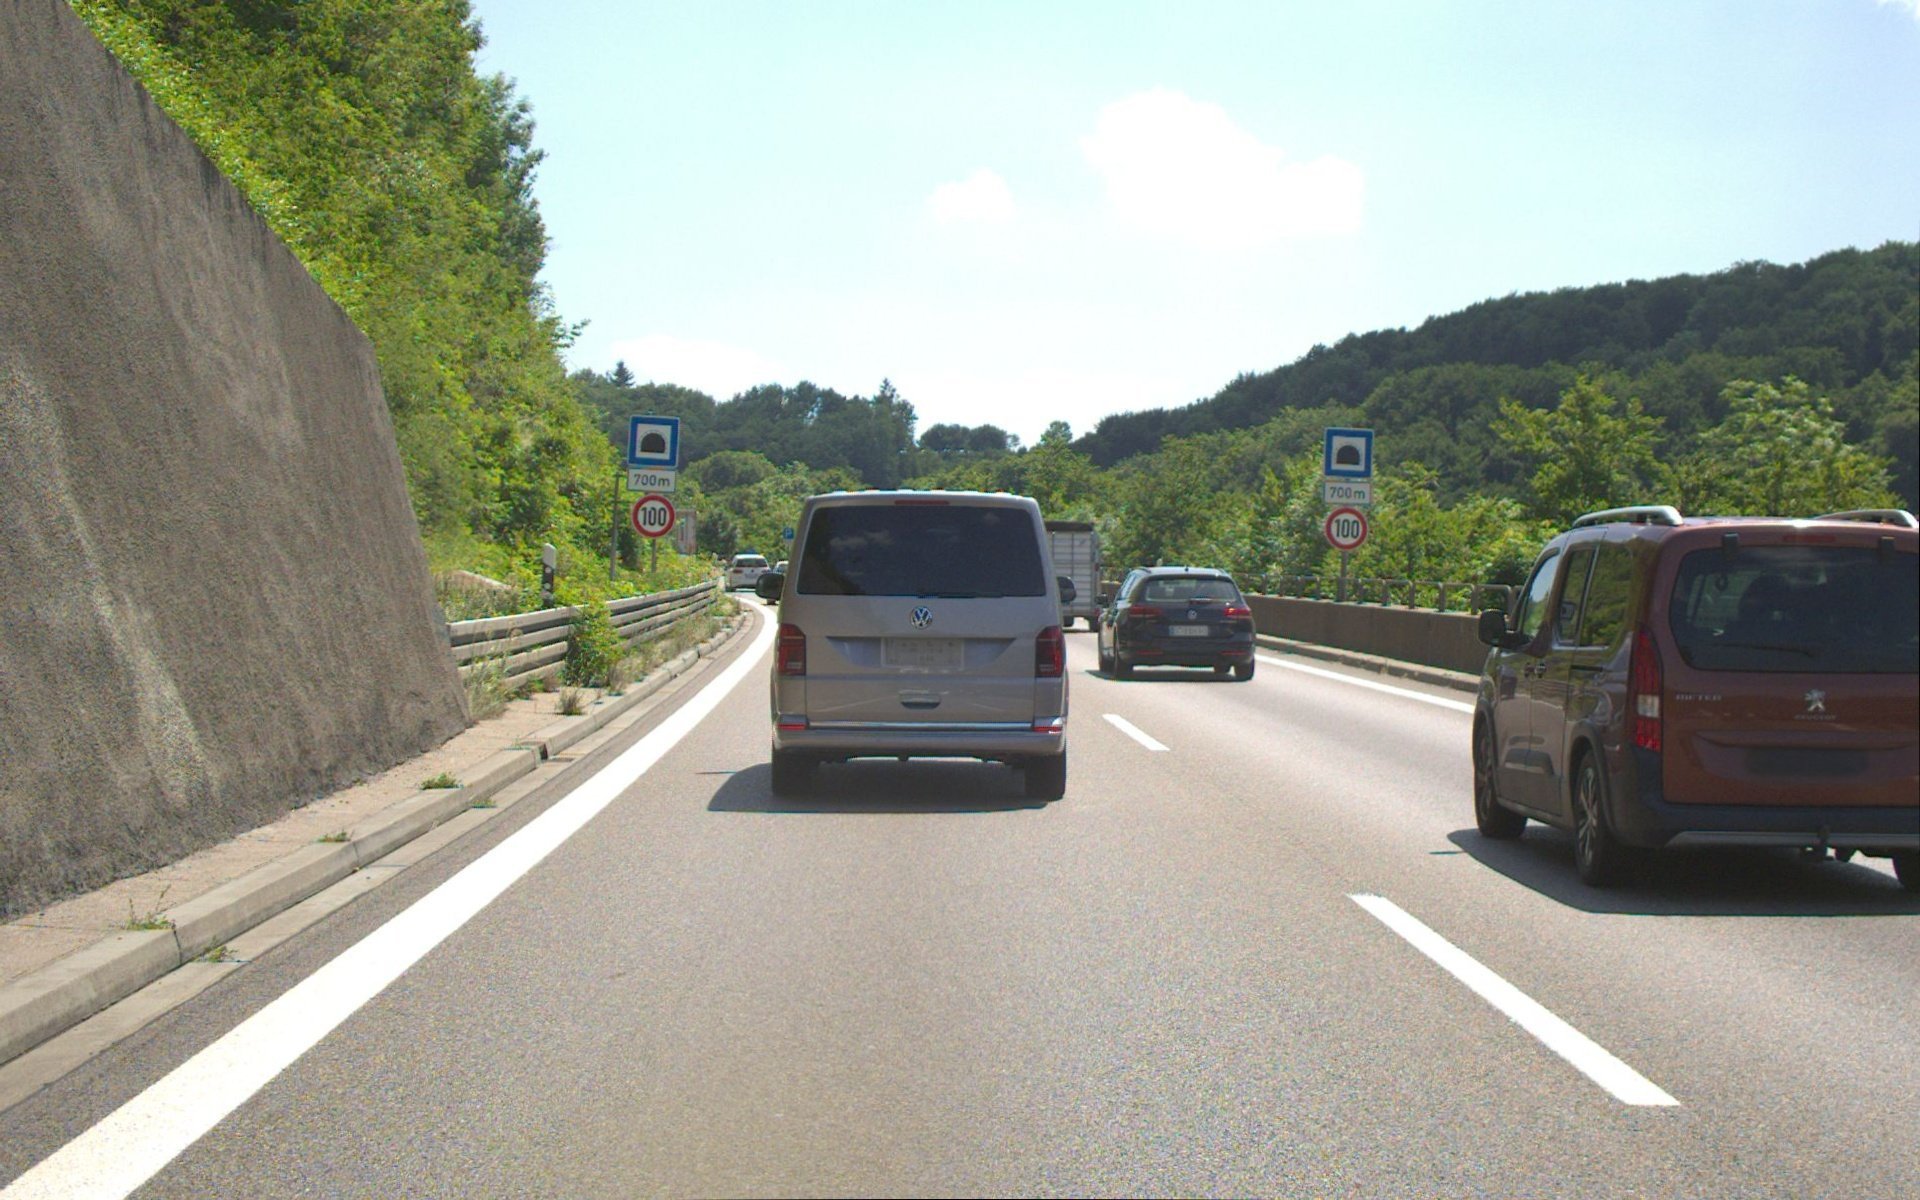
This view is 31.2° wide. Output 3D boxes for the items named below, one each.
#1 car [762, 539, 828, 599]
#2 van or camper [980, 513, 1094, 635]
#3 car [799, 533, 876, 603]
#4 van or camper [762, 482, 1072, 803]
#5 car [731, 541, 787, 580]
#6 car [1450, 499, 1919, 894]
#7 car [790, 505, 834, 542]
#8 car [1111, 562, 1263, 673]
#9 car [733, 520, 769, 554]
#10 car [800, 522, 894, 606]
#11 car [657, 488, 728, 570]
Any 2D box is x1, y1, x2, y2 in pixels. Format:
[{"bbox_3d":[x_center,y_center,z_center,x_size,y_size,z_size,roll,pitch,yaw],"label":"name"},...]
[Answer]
[{"bbox_3d":[-5.384,-1.017,111.598,1.993,1.908,4.001,1,1,-5],"label":"car"},{"bbox_3d":[1.644,-0.571,75.123,2.263,2.542,4.737,-1,1,-1],"label":"van or camper"},{"bbox_3d":[-3.289,-0.872,91.783,1.993,1.811,4.001,1,1,-3],"label":"car"},{"bbox_3d":[-0.307,0.232,23.021,1.875,1.943,4.294,0,1,-1],"label":"van or camper"},{"bbox_3d":[-8.510,-1.653,145.446,2.142,1.601,5.079,-1,0,-6],"label":"car"},{"bbox_3d":[3.822,0.422,17.817,1.833,1.778,4.676,0,0,-1],"label":"car"},{"bbox_3d":[-8.297,-4.250,192.333,1.993,2.007,4.001,1,1,-9],"label":"car"},{"bbox_3d":[2.937,0.195,45.080,1.768,1.371,3.593,0,1,0],"label":"car"},{"bbox_3d":[-12.626,-3.799,207.409,1.993,2.007,4.001,1,1,-5],"label":"car"},{"bbox_3d":[-2.549,-0.814,76.804,1.993,1.811,4.001,1,1,-3],"label":"car"},{"bbox_3d":[-16.492,-4.347,211.348,4.042,4.855,10.111,1,1,-6],"label":"car"}]
